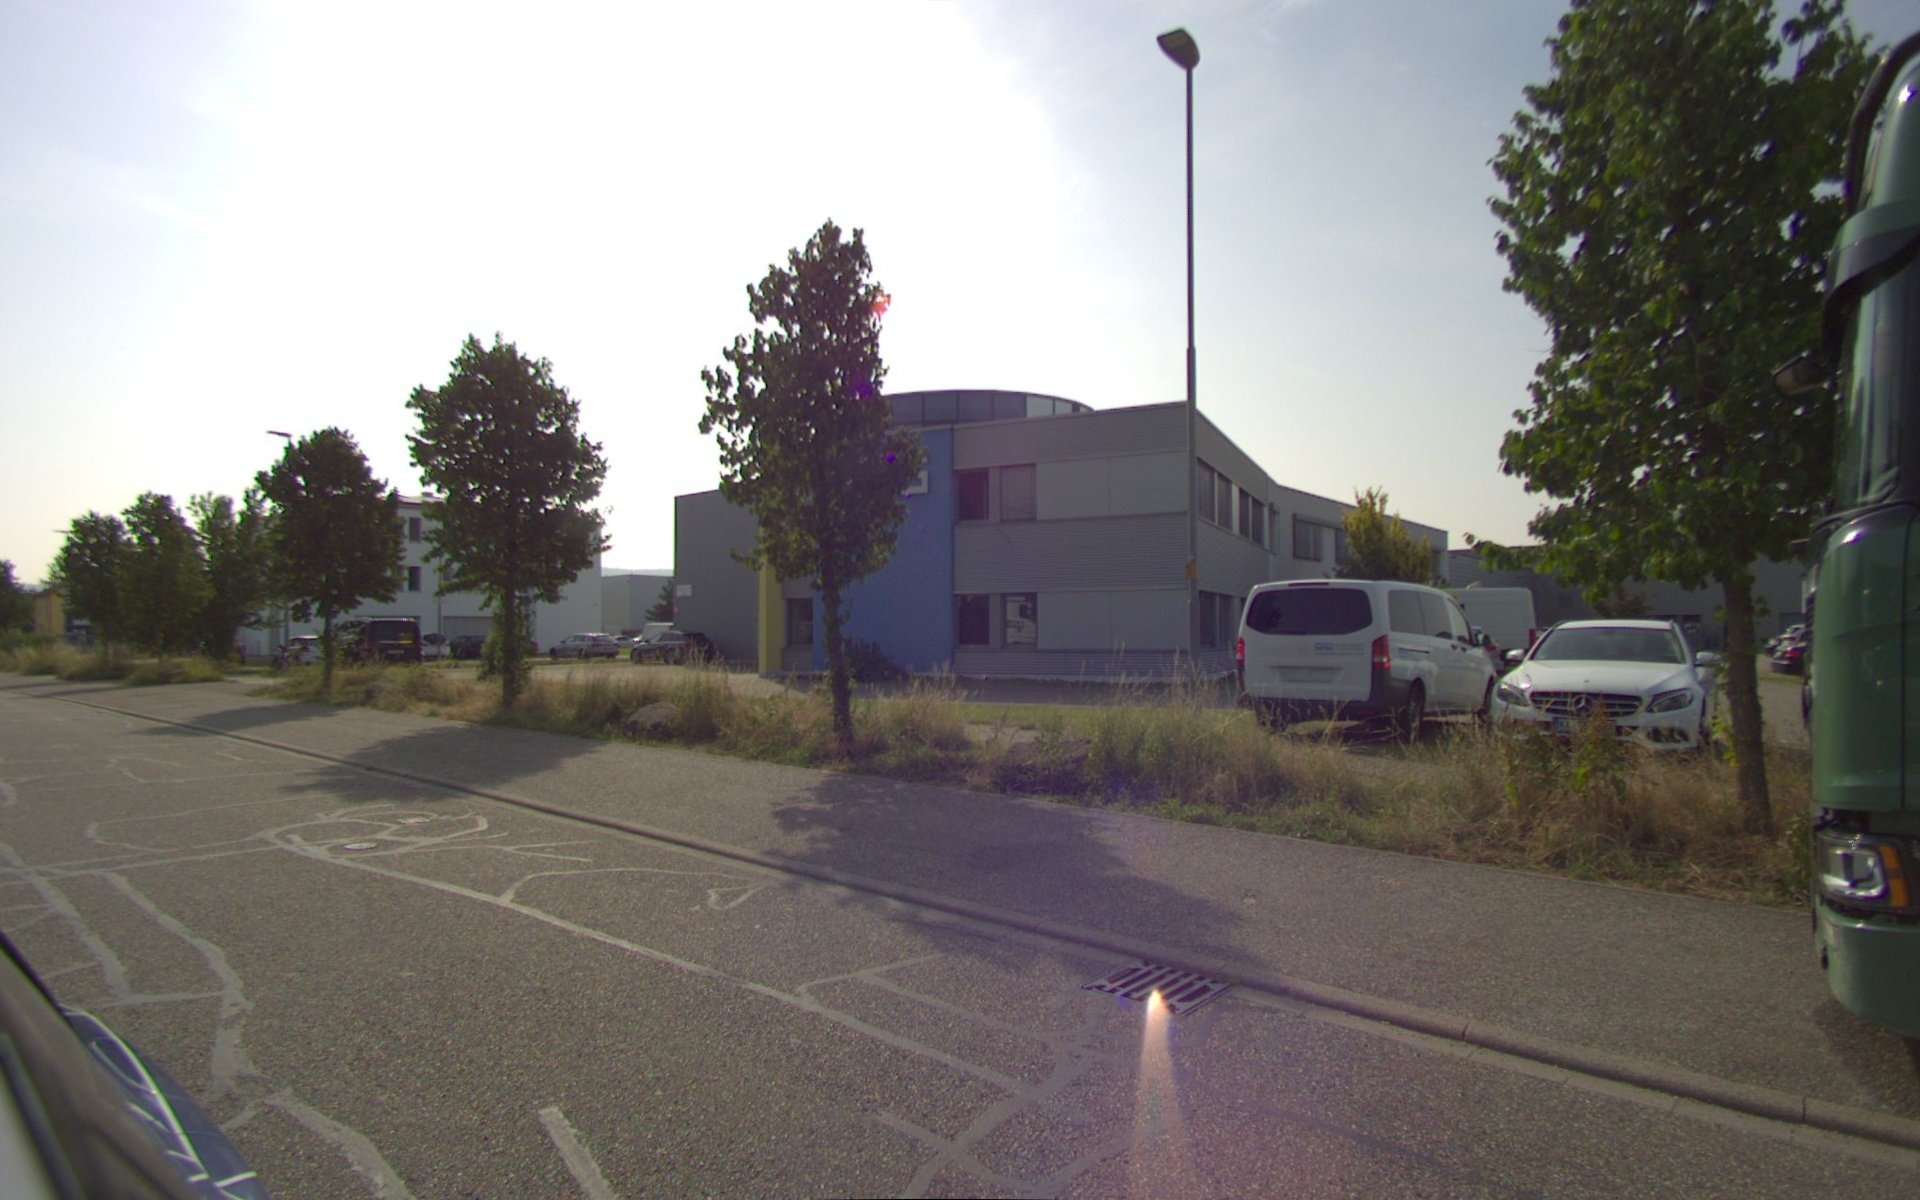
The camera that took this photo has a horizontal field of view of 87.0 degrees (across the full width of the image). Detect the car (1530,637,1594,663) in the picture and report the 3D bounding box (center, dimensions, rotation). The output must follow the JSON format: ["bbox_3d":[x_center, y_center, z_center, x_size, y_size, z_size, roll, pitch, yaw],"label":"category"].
[{"bbox_3d":[29.891,2.479,50.298,2.705,1.240,1.078,-1,-3,32],"label":"car"}]

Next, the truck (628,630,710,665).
[{"bbox_3d":[-16.559,2.713,57.520,4.946,1.918,1.974,-2,-3,38],"label":"truck"}]

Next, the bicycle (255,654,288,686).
[{"bbox_3d":[-22.813,2.306,33.515,1.871,0.986,0.534,-3,-3,45],"label":"bicycle"}]

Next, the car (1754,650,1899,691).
[{"bbox_3d":[22.481,1.805,26.357,2.705,1.002,1.078,-1,-3,32],"label":"car"}]

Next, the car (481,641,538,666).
[{"bbox_3d":[-27.360,3.223,61.383,3.917,1.479,1.736,-3,-3,42],"label":"car"}]

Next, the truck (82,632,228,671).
[{"bbox_3d":[-64.183,4.208,80.951,2.505,2.855,8.751,-2,-5,30],"label":"truck"}]

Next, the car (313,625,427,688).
[{"bbox_3d":[-20.653,1.976,35.340,4.987,2.029,1.862,-3,-4,41],"label":"car"}]

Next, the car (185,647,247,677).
[{"bbox_3d":[-37.299,3.099,50.718,3.917,1.420,1.736,-3,-3,42],"label":"car"}]

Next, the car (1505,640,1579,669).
[{"bbox_3d":[25.119,2.339,43.701,2.705,1.186,1.078,-1,-3,32],"label":"car"}]

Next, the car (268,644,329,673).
[{"bbox_3d":[-34.957,3.071,53.435,3.917,1.479,1.736,-3,-3,42],"label":"car"}]

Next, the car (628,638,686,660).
[{"bbox_3d":[-20.873,3.371,69.701,4.562,1.479,1.736,-3,-3,42],"label":"car"}]

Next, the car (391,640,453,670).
[{"bbox_3d":[-30.813,3.114,57.922,3.917,1.631,1.885,-3,-3,42],"label":"car"}]

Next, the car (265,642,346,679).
[{"bbox_3d":[-27.828,2.561,43.000,3.913,1.460,1.768,-3,-3,39],"label":"car"}]

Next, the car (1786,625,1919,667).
[{"bbox_3d":[36.034,1.818,40.764,4.153,1.625,1.820,-2,-3,44],"label":"car"}]

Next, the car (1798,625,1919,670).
[{"bbox_3d":[33.757,1.734,37.412,4.153,1.625,1.820,-2,-3,44],"label":"car"}]

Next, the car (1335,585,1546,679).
[{"bbox_3d":[14.753,0.994,31.430,5.716,2.715,1.697,-1,-2,24],"label":"car"}]

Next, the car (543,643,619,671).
[{"bbox_3d":[-19.833,2.957,52.884,4.375,1.383,1.716,-2,-3,37],"label":"car"}]

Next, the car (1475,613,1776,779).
[{"bbox_3d":[7.545,0.908,11.251,2.000,1.442,4.674,-3,-3,43],"label":"car"}]

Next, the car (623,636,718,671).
[{"bbox_3d":[-12.914,2.392,44.993,4.778,1.472,1.697,-3,-3,41],"label":"car"}]

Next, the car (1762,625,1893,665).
[{"bbox_3d":[37.168,1.896,43.437,4.153,1.625,1.820,-2,-3,44],"label":"car"}]

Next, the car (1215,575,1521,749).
[{"bbox_3d":[5.444,0.735,13.151,2.103,1.850,4.652,-3,-3,43],"label":"car"}]

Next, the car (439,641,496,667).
[{"bbox_3d":[-29.129,3.173,59.817,3.917,1.479,1.736,-3,-3,42],"label":"car"}]

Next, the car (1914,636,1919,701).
[{"bbox_3d":[20.839,1.379,19.918,2.697,1.324,1.182,-1,-2,24],"label":"car"}]

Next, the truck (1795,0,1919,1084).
[{"bbox_3d":[7.157,-0.587,0.879,9.800,3.911,2.429,-2,-1,42],"label":"truck"}]
